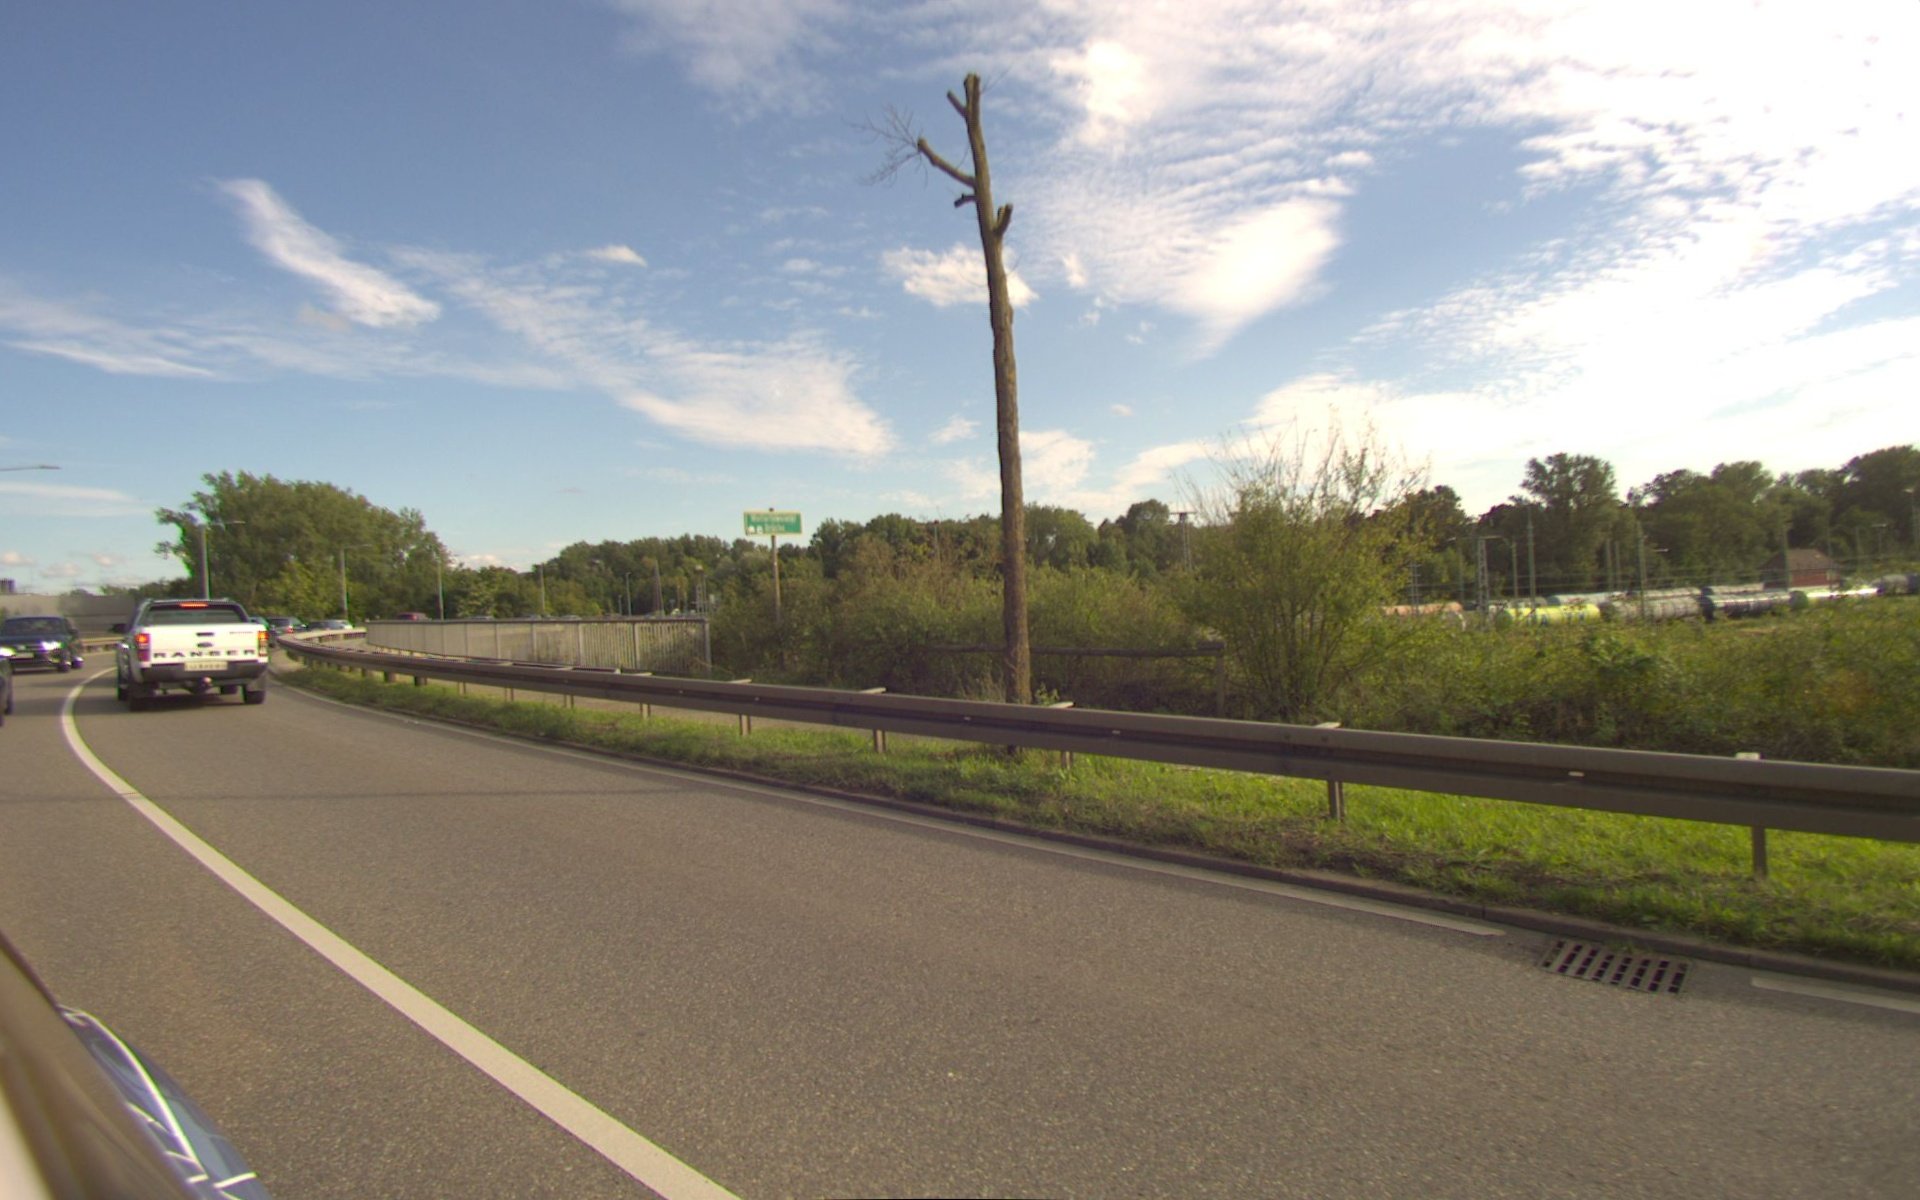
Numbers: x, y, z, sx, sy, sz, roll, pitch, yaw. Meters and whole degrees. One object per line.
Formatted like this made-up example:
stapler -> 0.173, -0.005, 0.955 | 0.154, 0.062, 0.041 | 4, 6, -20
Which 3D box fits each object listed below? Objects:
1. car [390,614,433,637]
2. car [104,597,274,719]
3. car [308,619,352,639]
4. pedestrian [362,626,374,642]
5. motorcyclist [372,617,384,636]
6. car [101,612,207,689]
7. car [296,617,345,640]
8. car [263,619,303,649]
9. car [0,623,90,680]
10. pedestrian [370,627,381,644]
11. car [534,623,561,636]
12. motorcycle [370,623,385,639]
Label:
car -> -48.982, 2.245, 90.525 | 1.981, 1.918, 4.878 | -1, -1, -11
car -> -13.763, 0.925, 17.918 | 1.878, 1.824, 5.409 | -1, -1, -43
car -> -50.975, 2.345, 82.004 | 1.789, 1.518, 4.403 | -1, -1, -14
pedestrian -> -58.721, 3.354, 100.417 | 0.668, 1.555, 0.962 | -1, 0, -7
motorcyclist -> -47.529, 2.170, 82.595 | 0.612, 1.565, 0.940 | -1, -1, -14
car -> -19.571, 1.172, 24.545 | 1.866, 1.662, 4.650 | 0, -1, -40
car -> -43.532, 1.912, 68.950 | 1.807, 1.477, 4.532 | -1, -1, -19
car -> -39.067, 1.926, 58.478 | 1.658, 1.662, 4.311 | 0, -1, -30
car -> -26.596, 1.432, 29.096 | 1.789, 1.518, 4.403 | 0, -1, -33
pedestrian -> -58.558, 3.573, 101.424 | 0.669, 1.674, 0.866 | -1, -1, -4
car -> -50.826, 3.676, 124.832 | 1.721, 1.512, 4.077 | -1, -1, -1
motorcycle -> -47.536, 2.507, 82.625 | 0.612, 1.262, 1.797 | -1, -1, -15
